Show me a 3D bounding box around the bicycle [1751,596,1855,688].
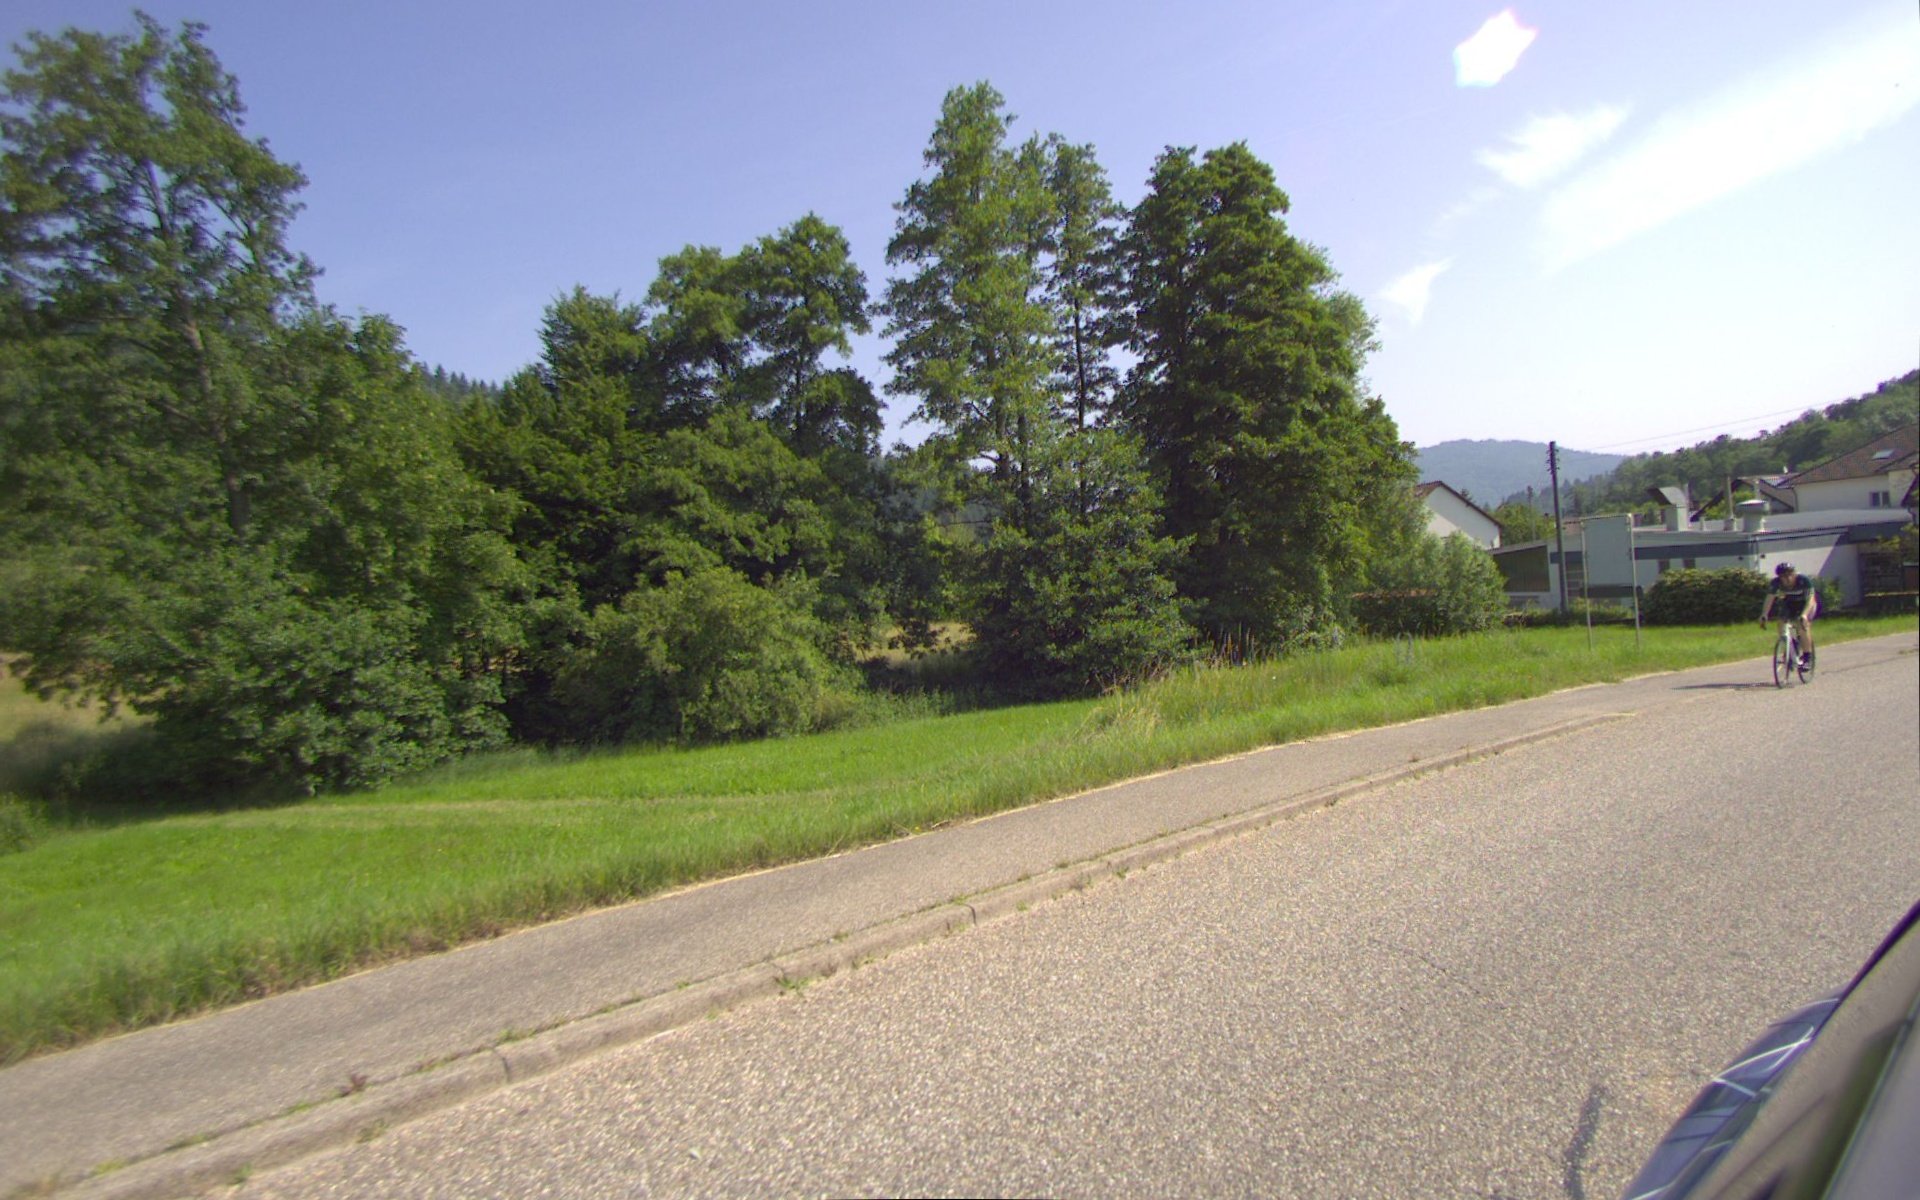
[{"bbox_3d":[11.122,0.515,13.333,1.954,1.047,0.581,-3,3,-36],"label":"bicycle"}]

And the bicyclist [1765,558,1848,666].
[{"bbox_3d":[11.203,0.132,13.387,1.124,1.359,0.581,-3,3,-36],"label":"bicyclist"}]
